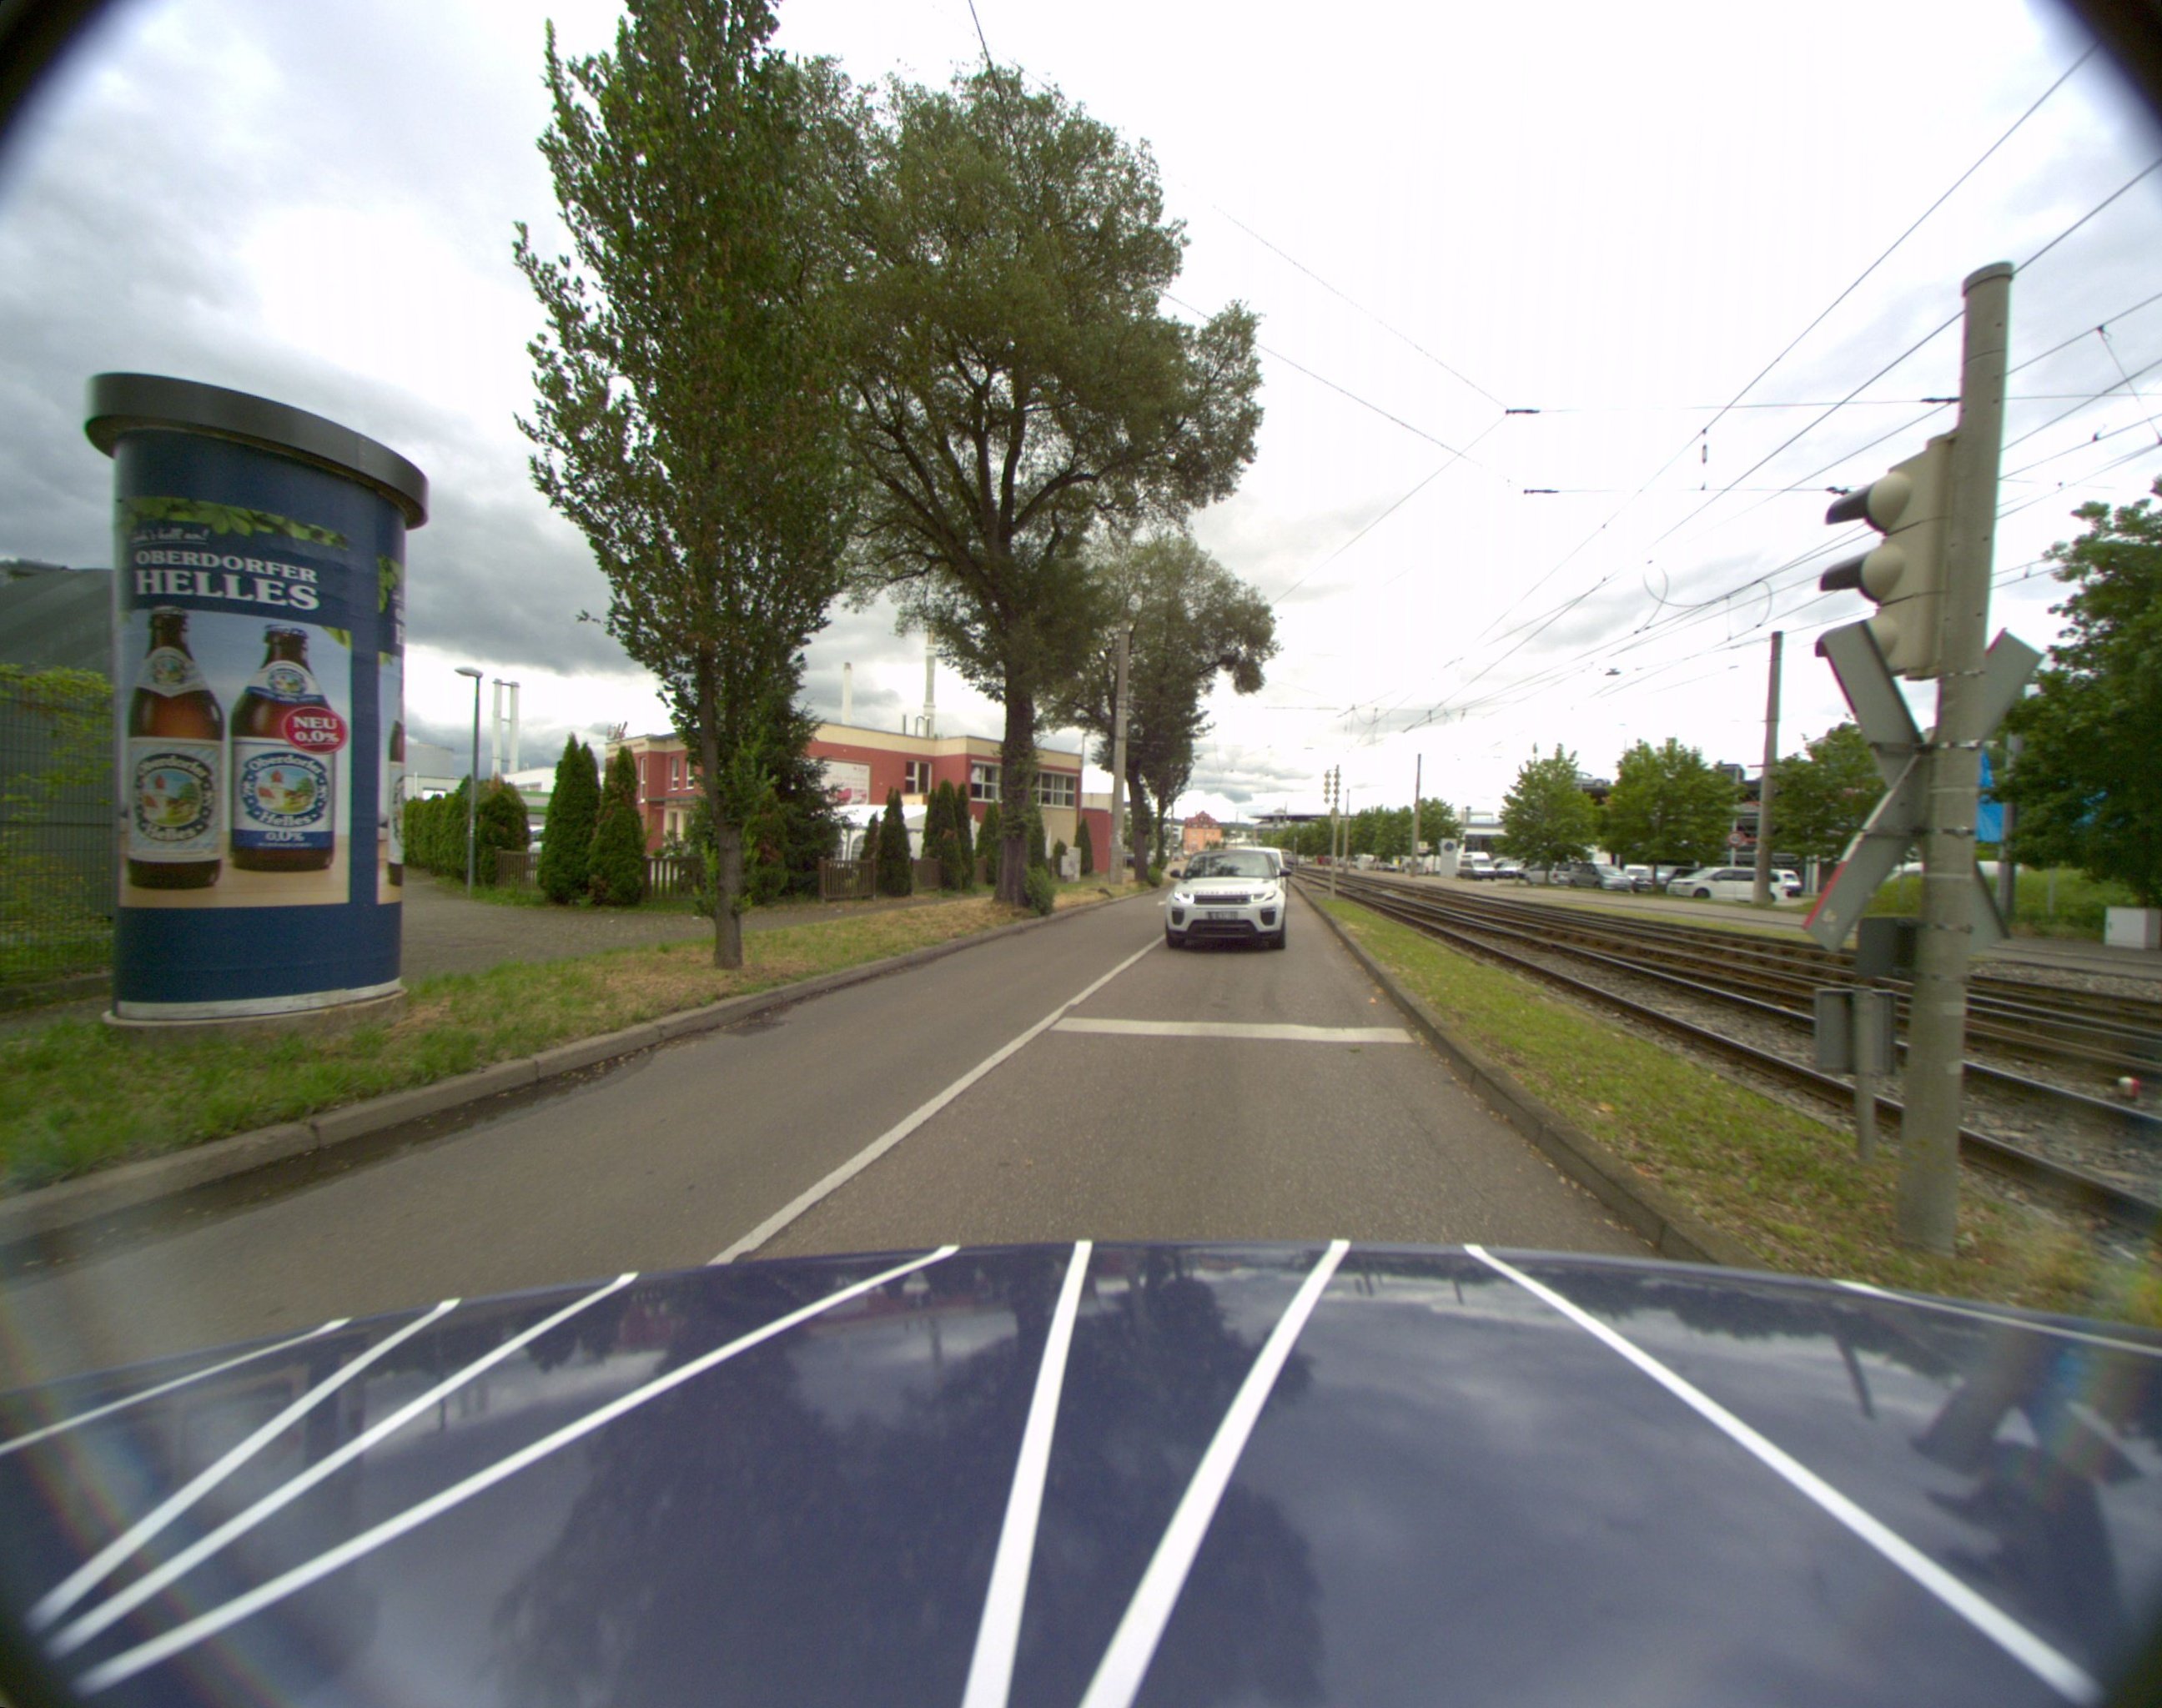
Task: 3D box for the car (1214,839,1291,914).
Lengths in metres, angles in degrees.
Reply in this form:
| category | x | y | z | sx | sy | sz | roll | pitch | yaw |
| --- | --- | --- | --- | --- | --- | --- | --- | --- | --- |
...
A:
| category | x | y | z | sx | sy | sz | roll | pitch | yaw |
| --- | --- | --- | --- | --- | --- | --- | --- | --- | --- |
| car | 5.219 | 0.588 | 22.786 | 1.996 | 1.990 | 5.040 | 0 | 0 | 15 |

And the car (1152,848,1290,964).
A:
| category | x | y | z | sx | sy | sz | roll | pitch | yaw |
| --- | --- | --- | --- | --- | --- | --- | --- | --- | --- |
| car | 2.524 | 0.757 | 13.255 | 1.996 | 1.680 | 4.273 | 0 | 0 | 13 |

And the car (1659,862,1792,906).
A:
| category | x | y | z | sx | sy | sz | roll | pitch | yaw |
| --- | --- | --- | --- | --- | --- | --- | --- | --- | --- |
| car | 35.241 | 1.637 | 41.698 | 5.264 | 2.254 | 2.001 | -1 | 1 | 10 |

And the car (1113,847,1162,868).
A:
| category | x | y | z | sx | sy | sz | roll | pitch | yaw |
| --- | --- | --- | --- | --- | --- | --- | --- | --- | --- |
| car | 4.729 | 0.267 | 63.159 | 3.995 | 1.636 | 1.897 | -1 | 1 | 7 |

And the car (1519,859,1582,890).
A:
| category | x | y | z | sx | sy | sz | roll | pitch | yaw |
| --- | --- | --- | --- | --- | --- | --- | --- | --- | --- |
| car | 35.815 | 1.525 | 58.117 | 2.140 | 2.104 | 4.777 | -1 | 1 | 5 |

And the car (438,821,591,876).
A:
| category | x | y | z | sx | sy | sz | roll | pitch | yaw |
| --- | --- | --- | --- | --- | --- | --- | --- | --- | --- |
| car | -19.722 | -0.193 | 26.675 | 1.852 | 1.740 | 4.004 | -1 | 1 | 13 |

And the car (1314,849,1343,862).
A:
| category | x | y | z | sx | sy | sz | roll | pitch | yaw |
| --- | --- | --- | --- | --- | --- | --- | --- | --- | --- |
| car | 45.273 | 0.259 | 138.899 | 4.634 | 2.196 | 2.109 | -1 | 1 | 5 |

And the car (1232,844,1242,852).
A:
| category | x | y | z | sx | sy | sz | roll | pitch | yaw |
| --- | --- | --- | --- | --- | --- | --- | --- | --- | --- |
| car | 38.491 | -1.433 | 187.430 | 1.997 | 2.002 | 4.001 | -1 | 1 | 6 |

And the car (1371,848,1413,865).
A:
| category | x | y | z | sx | sy | sz | roll | pitch | yaw |
| --- | --- | --- | --- | --- | --- | --- | --- | --- | --- |
| car | 40.738 | 0.303 | 99.635 | 4.634 | 2.196 | 2.109 | -1 | 1 | 5 |

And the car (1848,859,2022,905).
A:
| category | x | y | z | sx | sy | sz | roll | pitch | yaw |
| --- | --- | --- | --- | --- | --- | --- | --- | --- | --- |
| car | 45.044 | 1.434 | 40.320 | 5.836 | 2.254 | 2.057 | -1 | 1 | 35 |

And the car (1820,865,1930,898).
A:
| category | x | y | z | sx | sy | sz | roll | pitch | yaw |
| --- | --- | --- | --- | --- | --- | --- | --- | --- | --- |
| car | 47.873 | 1.646 | 45.927 | 4.225 | 1.826 | 1.984 | -1 | 1 | 32 |

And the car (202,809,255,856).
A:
| category | x | y | z | sx | sy | sz | roll | pitch | yaw |
| --- | --- | --- | --- | --- | --- | --- | --- | --- | --- |
| car | -57.666 | -1.402 | 51.360 | 5.573 | 2.946 | 1.978 | -1 | 1 | 38 |

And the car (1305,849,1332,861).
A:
| category | x | y | z | sx | sy | sz | roll | pitch | yaw |
| --- | --- | --- | --- | --- | --- | --- | --- | --- | --- |
| car | 46.064 | 0.174 | 147.434 | 4.634 | 2.196 | 2.109 | -1 | 1 | 5 |

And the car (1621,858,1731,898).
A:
| category | x | y | z | sx | sy | sz | roll | pitch | yaw |
| --- | --- | --- | --- | --- | --- | --- | --- | --- | --- |
| car | 35.481 | 1.438 | 45.422 | 4.769 | 2.254 | 1.981 | -1 | 1 | 10 |

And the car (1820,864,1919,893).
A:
| category | x | y | z | sx | sy | sz | roll | pitch | yaw |
| --- | --- | --- | --- | --- | --- | --- | --- | --- | --- |
| car | 52.238 | 1.618 | 50.475 | 4.225 | 1.826 | 1.984 | -1 | 1 | 32 |

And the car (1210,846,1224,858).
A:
| category | x | y | z | sx | sy | sz | roll | pitch | yaw |
| --- | --- | --- | --- | --- | --- | --- | --- | --- | --- |
| car | 20.492 | -0.334 | 114.478 | 1.867 | 1.740 | 4.002 | -1 | 1 | 8 |

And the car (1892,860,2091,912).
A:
| category | x | y | z | sx | sy | sz | roll | pitch | yaw |
| --- | --- | --- | --- | --- | --- | --- | --- | --- | --- |
| car | 43.723 | 1.491 | 36.767 | 5.847 | 2.254 | 2.057 | -1 | 1 | 35 |

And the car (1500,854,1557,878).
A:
| category | x | y | z | sx | sy | sz | roll | pitch | yaw |
| --- | --- | --- | --- | --- | --- | --- | --- | --- | --- |
| car | 51.622 | 1.385 | 87.666 | 6.053 | 2.607 | 2.317 | -1 | 1 | -21 |

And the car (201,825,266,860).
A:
| category | x | y | z | sx | sy | sz | roll | pitch | yaw |
| --- | --- | --- | --- | --- | --- | --- | --- | --- | --- |
| car | -43.775 | -0.579 | 39.232 | 3.988 | 1.707 | 1.978 | -1 | 1 | 38 |

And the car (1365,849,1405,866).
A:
| category | x | y | z | sx | sy | sz | roll | pitch | yaw |
| --- | --- | --- | --- | --- | --- | --- | --- | --- | --- |
| car | 40.957 | 0.472 | 102.446 | 4.634 | 2.196 | 2.109 | -1 | 1 | 5 |

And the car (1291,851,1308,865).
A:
| category | x | y | z | sx | sy | sz | roll | pitch | yaw |
| --- | --- | --- | --- | --- | --- | --- | --- | --- | --- |
| car | 33.429 | 0.642 | 116.255 | 1.903 | 1.709 | 4.138 | 7 | 3 | 10 |

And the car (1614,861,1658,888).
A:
| category | x | y | z | sx | sy | sz | roll | pitch | yaw |
| --- | --- | --- | --- | --- | --- | --- | --- | --- | --- |
| car | 42.909 | 1.586 | 58.833 | 1.898 | 1.882 | 4.604 | -1 | 1 | 25 |

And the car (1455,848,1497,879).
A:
| category | x | y | z | sx | sy | sz | roll | pitch | yaw |
| --- | --- | --- | --- | --- | --- | --- | --- | --- | --- |
| car | 40.967 | 0.962 | 79.006 | 2.317 | 2.994 | 6.164 | -1 | 1 | 13 |

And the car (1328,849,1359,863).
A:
| category | x | y | z | sx | sy | sz | roll | pitch | yaw |
| --- | --- | --- | --- | --- | --- | --- | --- | --- | --- |
| car | 44.454 | 0.356 | 128.896 | 4.634 | 2.196 | 2.109 | -1 | 1 | 5 |

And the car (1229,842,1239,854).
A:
| category | x | y | z | sx | sy | sz | roll | pitch | yaw |
| --- | --- | --- | --- | --- | --- | --- | --- | --- | --- |
| car | 38.813 | -1.630 | 192.344 | 2.408 | 2.931 | 4.752 | -1 | 1 | 11 |

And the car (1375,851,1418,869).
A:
| category | x | y | z | sx | sy | sz | roll | pitch | yaw |
| --- | --- | --- | --- | --- | --- | --- | --- | --- | --- |
| car | 40.379 | 0.776 | 97.216 | 4.634 | 2.196 | 2.109 | -1 | 1 | 5 |

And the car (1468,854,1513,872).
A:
| category | x | y | z | sx | sy | sz | roll | pitch | yaw |
| --- | --- | --- | --- | --- | --- | --- | --- | --- | --- |
| car | 51.904 | 1.103 | 96.432 | 4.632 | 2.196 | 2.111 | -1 | 1 | 12 |

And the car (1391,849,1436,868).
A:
| category | x | y | z | sx | sy | sz | roll | pitch | yaw |
| --- | --- | --- | --- | --- | --- | --- | --- | --- | --- |
| car | 40.237 | 0.509 | 92.014 | 4.634 | 2.196 | 2.109 | -1 | 1 | 5 |

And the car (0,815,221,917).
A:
| category | x | y | z | sx | sy | sz | roll | pitch | yaw |
| --- | --- | --- | --- | --- | --- | --- | --- | --- | --- |
| car | -18.114 | 0.165 | 12.966 | 1.994 | 1.656 | 4.511 | 2 | 1 | 40 |

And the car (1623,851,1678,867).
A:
| category | x | y | z | sx | sy | sz | roll | pitch | yaw |
| --- | --- | --- | --- | --- | --- | --- | --- | --- | --- |
| car | 68.390 | 0.601 | 91.324 | 5.214 | 1.826 | 1.984 | -1 | 1 | 34 |

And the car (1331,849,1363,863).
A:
| category | x | y | z | sx | sy | sz | roll | pitch | yaw |
| --- | --- | --- | --- | --- | --- | --- | --- | --- | --- |
| car | 44.171 | 0.382 | 126.459 | 4.634 | 2.196 | 2.109 | -1 | 1 | 5 |

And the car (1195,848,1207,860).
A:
| category | x | y | z | sx | sy | sz | roll | pitch | yaw |
| --- | --- | --- | --- | --- | --- | --- | --- | --- | --- |
| car | 20.841 | -0.062 | 132.376 | 1.903 | 1.708 | 4.138 | 6 | 3 | 8 |

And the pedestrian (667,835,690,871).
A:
| category | x | y | z | sx | sy | sz | roll | pitch | yaw |
| --- | --- | --- | --- | --- | --- | --- | --- | --- | --- |
| pedestrian | -19.779 | -0.063 | 37.342 | 0.867 | 1.751 | 0.599 | -2 | 1 | -33 |

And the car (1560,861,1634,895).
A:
| category | x | y | z | sx | sy | sz | roll | pitch | yaw |
| --- | --- | --- | --- | --- | --- | --- | --- | --- | --- |
| car | 35.103 | 1.575 | 51.862 | 2.140 | 2.104 | 4.778 | -1 | 1 | 6 |

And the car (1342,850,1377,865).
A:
| category | x | y | z | sx | sy | sz | roll | pitch | yaw |
| --- | --- | --- | --- | --- | --- | --- | --- | --- | --- |
| car | 42.668 | 0.494 | 116.521 | 4.634 | 2.196 | 2.109 | -1 | 1 | 5 |
